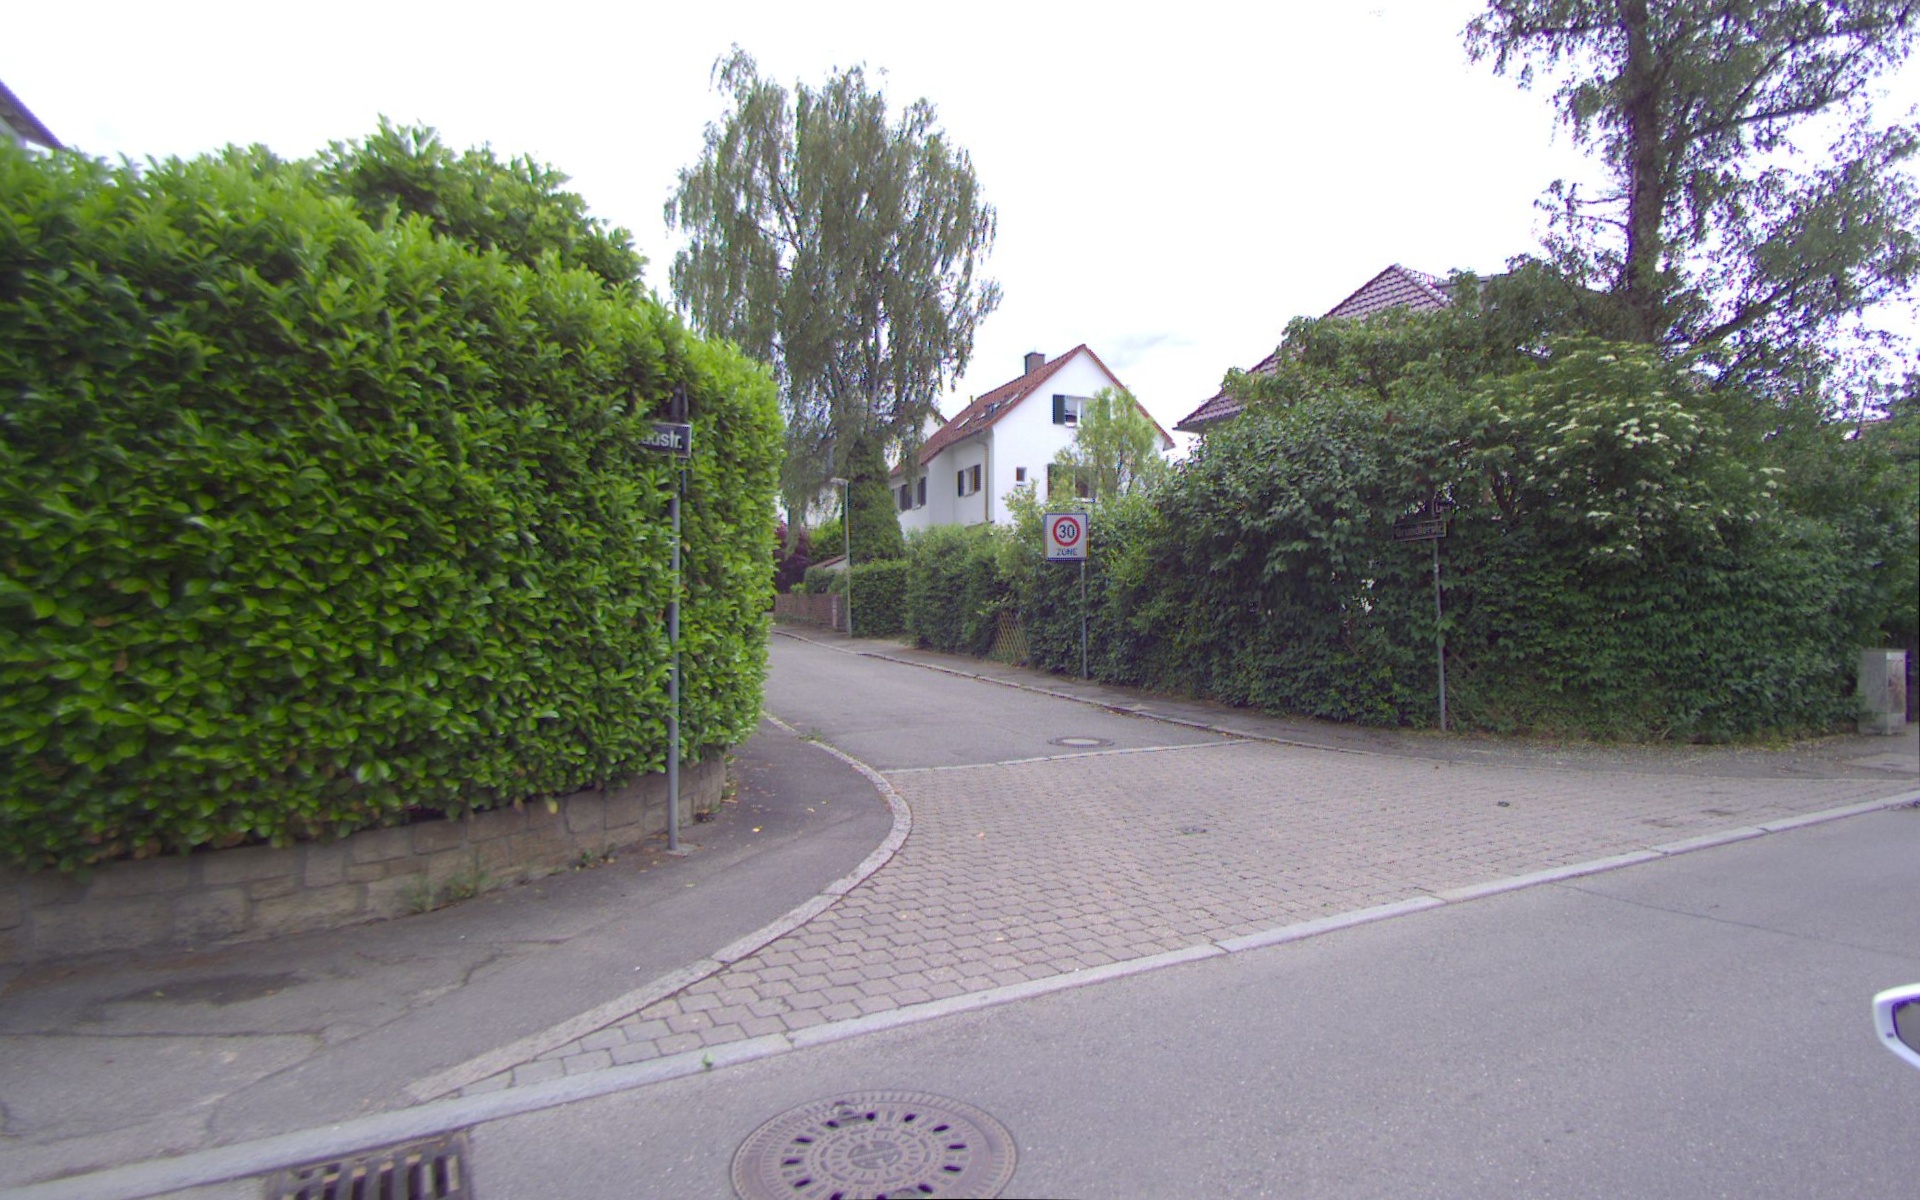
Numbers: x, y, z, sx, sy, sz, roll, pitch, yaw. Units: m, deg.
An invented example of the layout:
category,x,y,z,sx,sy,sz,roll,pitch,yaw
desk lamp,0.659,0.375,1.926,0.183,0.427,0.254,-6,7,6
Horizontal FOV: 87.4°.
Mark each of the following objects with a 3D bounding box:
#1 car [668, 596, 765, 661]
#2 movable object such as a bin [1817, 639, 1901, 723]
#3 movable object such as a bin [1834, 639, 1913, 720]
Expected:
category,x,y,z,sx,sy,sz,roll,pitch,yaw
car,-6.312,0.661,25.741,1.821,1.435,3.978,-1,1,-22
movable object such as a bin,13.193,1.171,14.740,0.715,1.141,0.723,1,2,-33
movable object such as a bin,13.796,1.178,15.173,0.579,1.132,0.723,1,2,-33
